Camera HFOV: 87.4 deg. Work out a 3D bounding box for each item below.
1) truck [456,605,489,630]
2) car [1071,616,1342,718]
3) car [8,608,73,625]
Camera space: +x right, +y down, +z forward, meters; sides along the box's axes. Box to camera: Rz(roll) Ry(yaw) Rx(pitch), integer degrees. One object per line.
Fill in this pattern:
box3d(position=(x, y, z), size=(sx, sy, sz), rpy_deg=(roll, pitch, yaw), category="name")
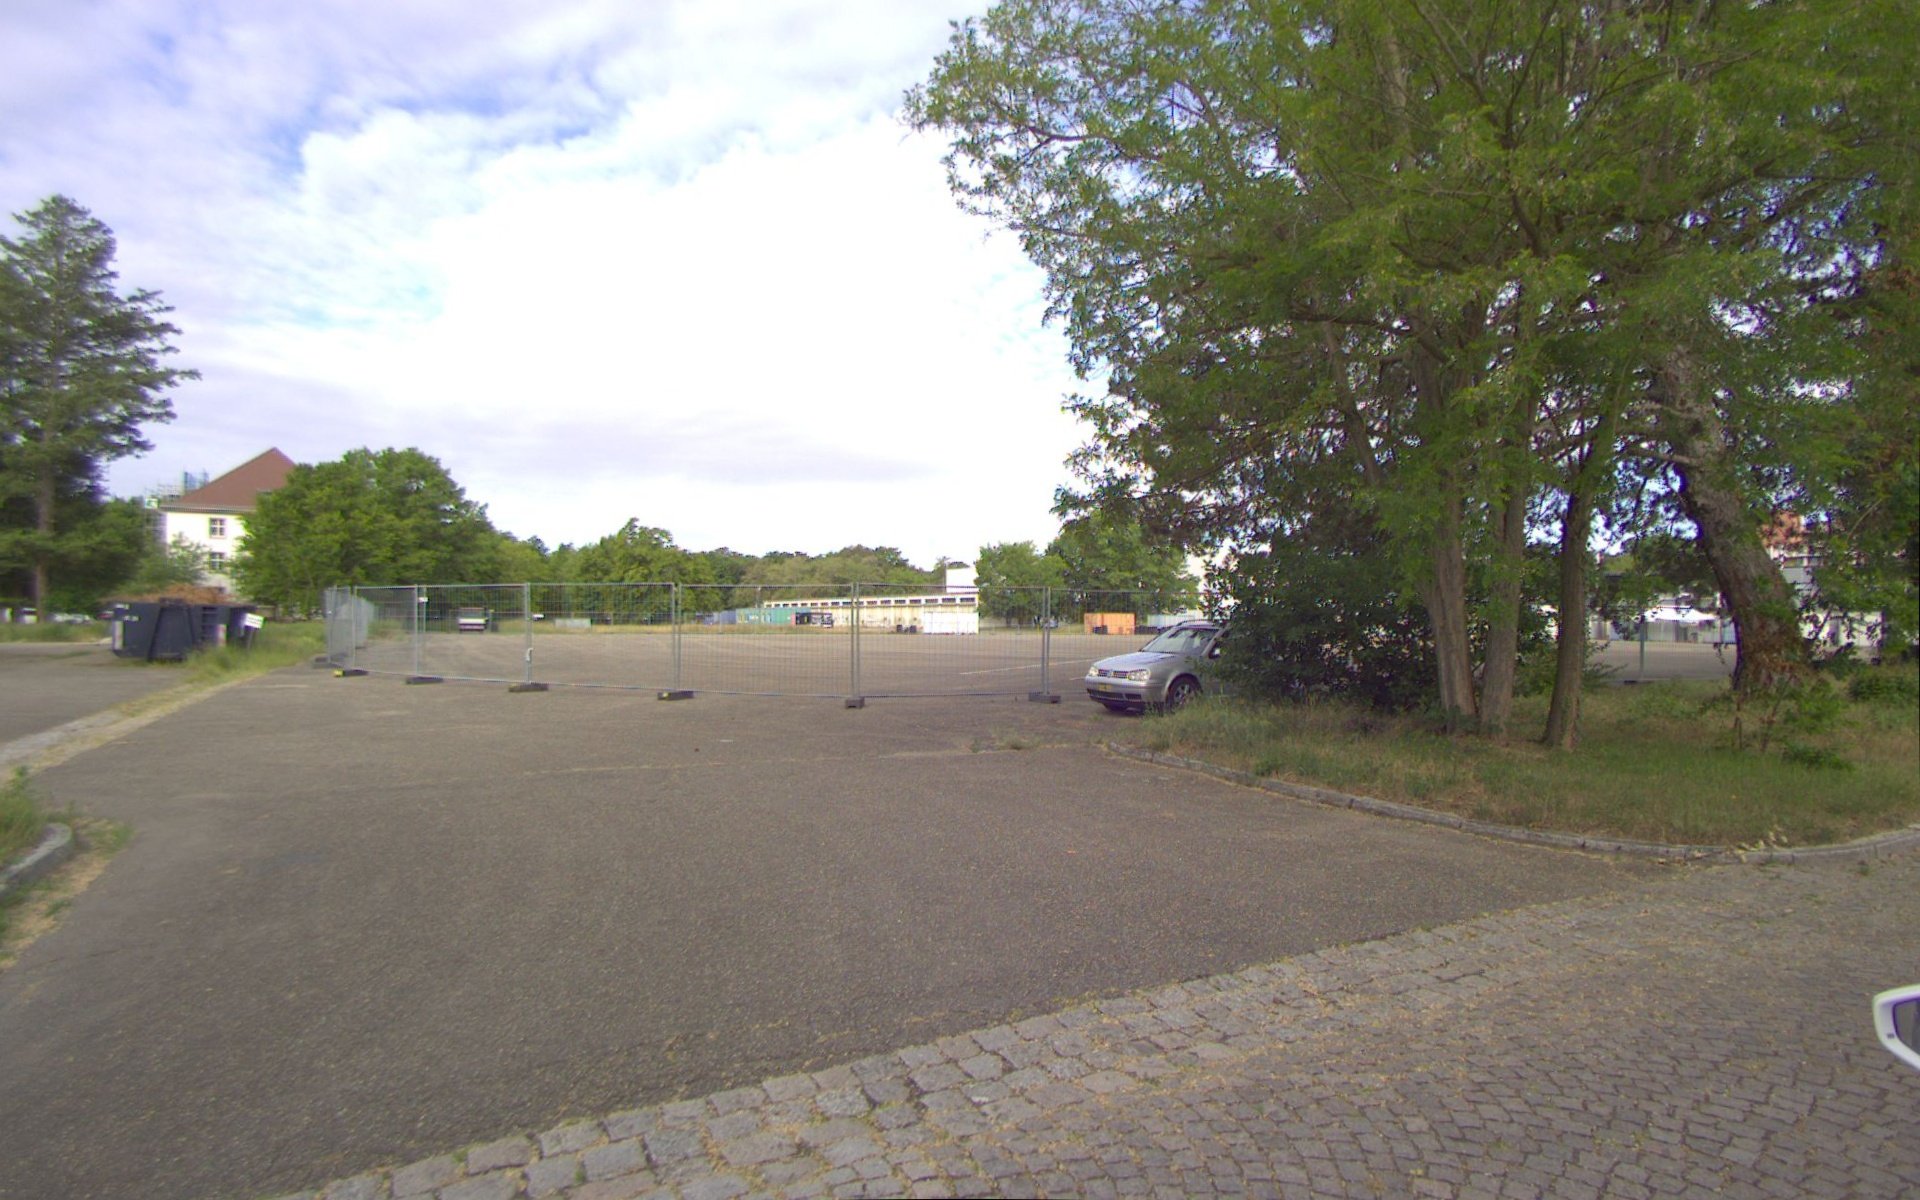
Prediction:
box3d(position=(-44.867, 1.569, 92.399), size=(2.346, 2.227, 6.504), rpy_deg=(1, -1, -29), category="truck")
box3d(position=(4.068, 1.005, 16.312), size=(4.418, 1.457, 1.706), rpy_deg=(1, -1, -32), category="car")
box3d(position=(-93.144, 1.688, 101.847), size=(4.534, 1.654, 1.825), rpy_deg=(1, -1, -32), category="car")
